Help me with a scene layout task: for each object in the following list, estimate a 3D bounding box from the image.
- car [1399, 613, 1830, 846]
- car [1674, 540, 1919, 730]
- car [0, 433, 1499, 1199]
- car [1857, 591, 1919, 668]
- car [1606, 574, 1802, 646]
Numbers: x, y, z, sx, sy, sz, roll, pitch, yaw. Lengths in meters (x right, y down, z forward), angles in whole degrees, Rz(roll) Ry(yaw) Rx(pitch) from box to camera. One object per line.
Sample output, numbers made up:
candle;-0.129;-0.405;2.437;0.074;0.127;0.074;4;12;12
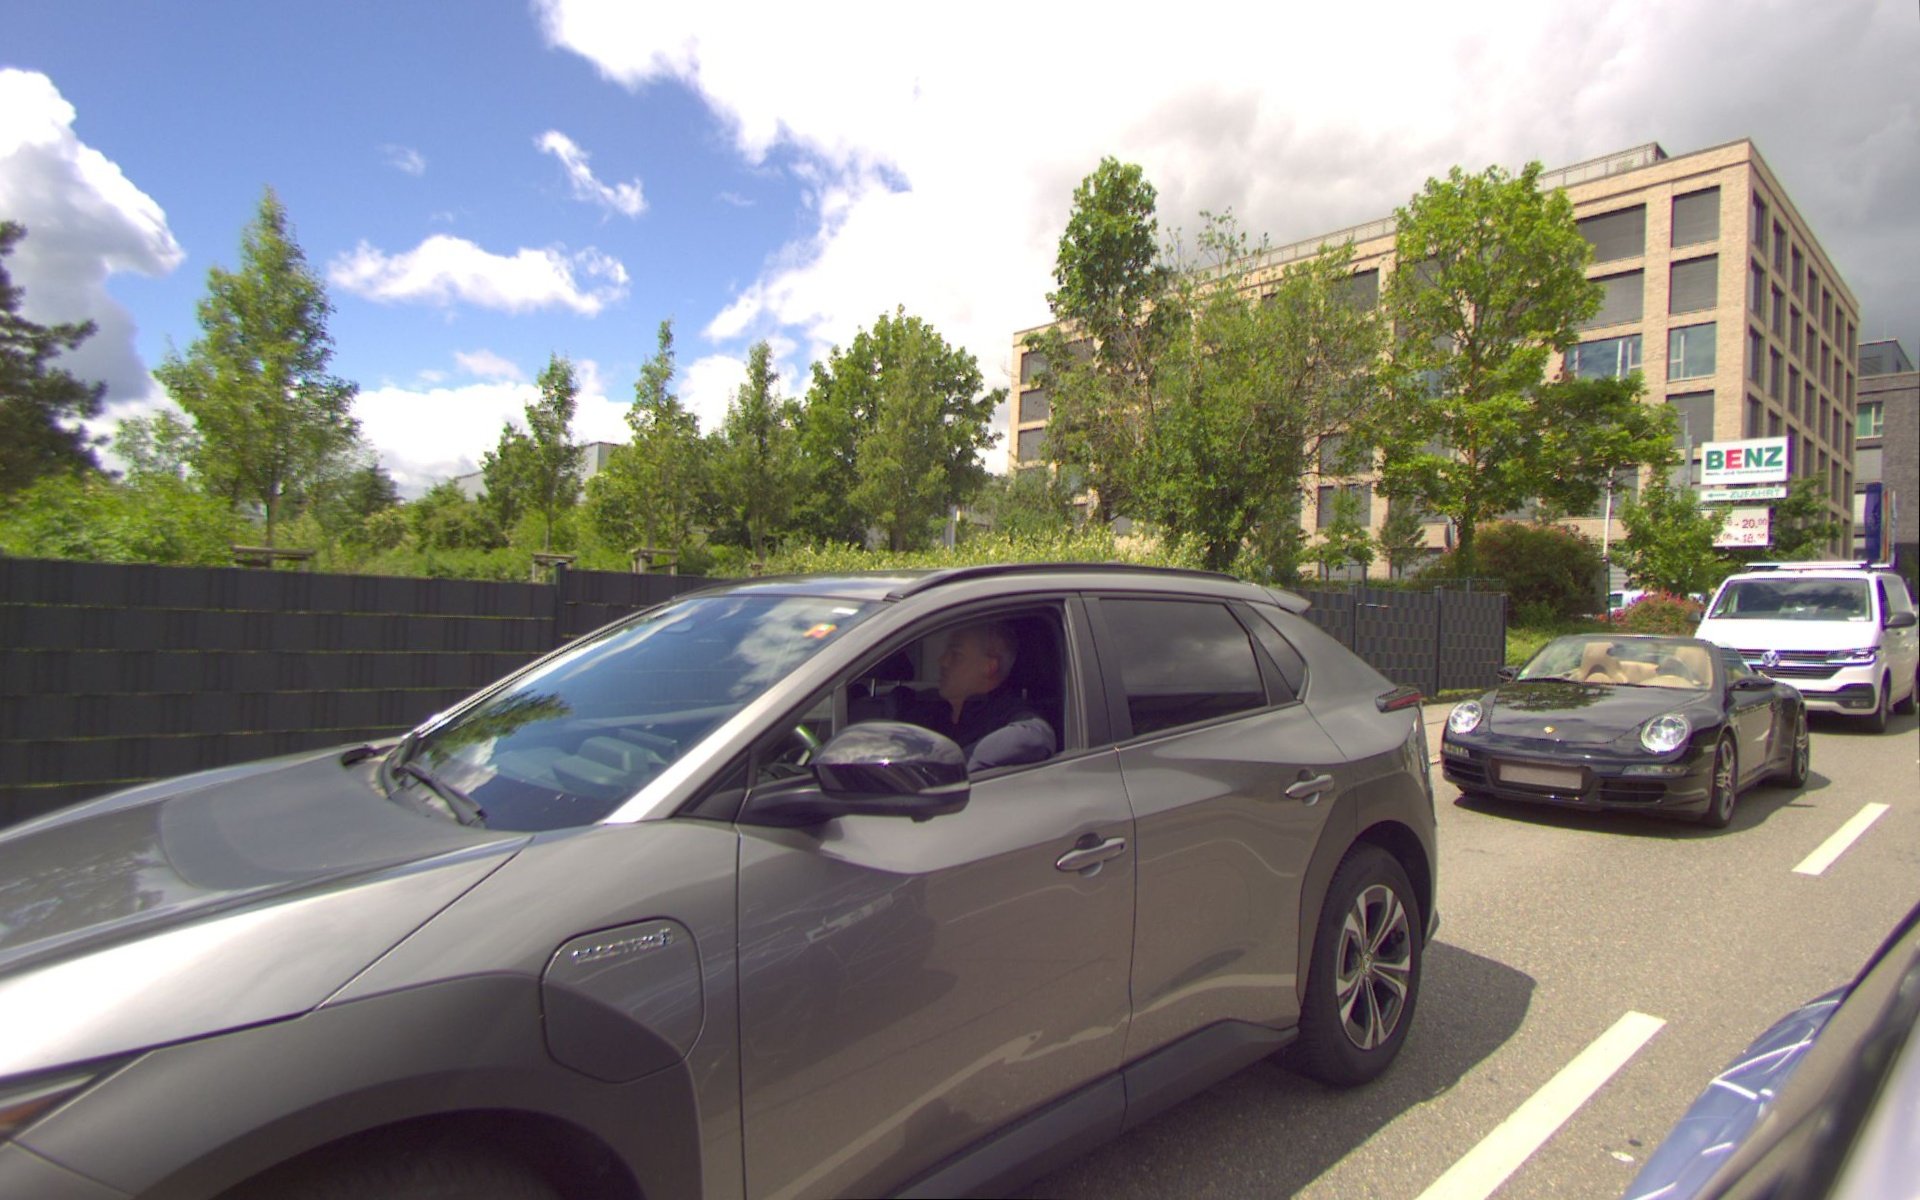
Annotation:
car;5.292;0.788;7.985;3.967;1.310;1.823;0;0;-41
car;11.340;0.371;13.347;4.677;2.075;2.087;0;0;-41
car;-0.365;0.627;2.970;4.501;1.649;1.997;0;1;-42
car;20.244;0.576;21.068;3.930;1.481;1.817;0;2;-41
car;19.895;0.214;27.178;1.793;1.754;3.991;0;2;-44
